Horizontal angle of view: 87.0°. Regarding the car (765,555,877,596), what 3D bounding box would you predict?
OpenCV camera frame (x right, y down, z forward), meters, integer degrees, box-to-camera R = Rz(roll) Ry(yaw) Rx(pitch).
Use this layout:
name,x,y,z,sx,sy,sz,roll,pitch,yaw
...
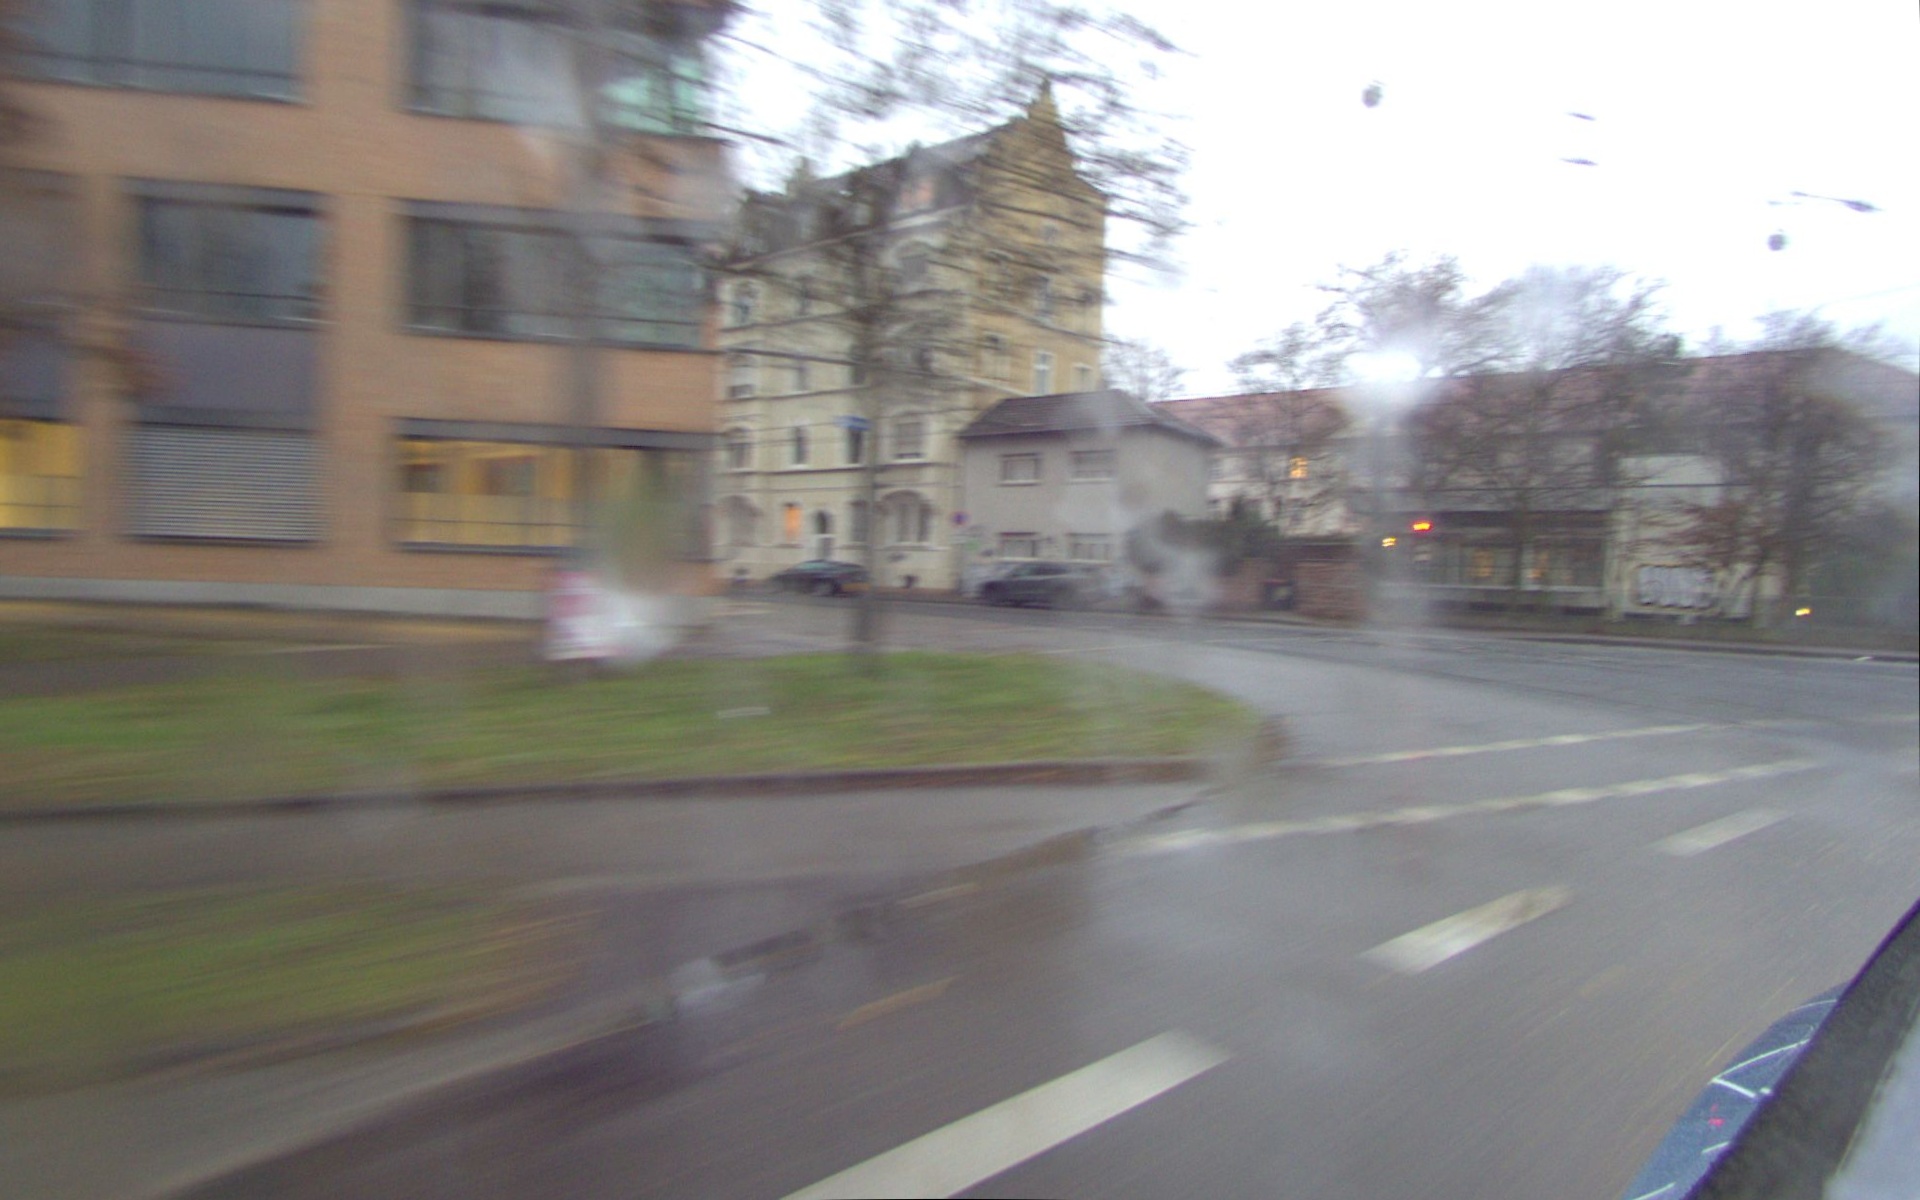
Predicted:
name,x,y,z,sx,sy,sz,roll,pitch,yaw
car,-5.696,-1.022,41.344,4.491,1.458,1.972,4,3,39

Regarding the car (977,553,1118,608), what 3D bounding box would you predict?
name,x,y,z,sx,sy,sz,roll,pitch,yaw
car,3.010,-0.709,35.221,4.484,1.690,1.975,4,2,35
